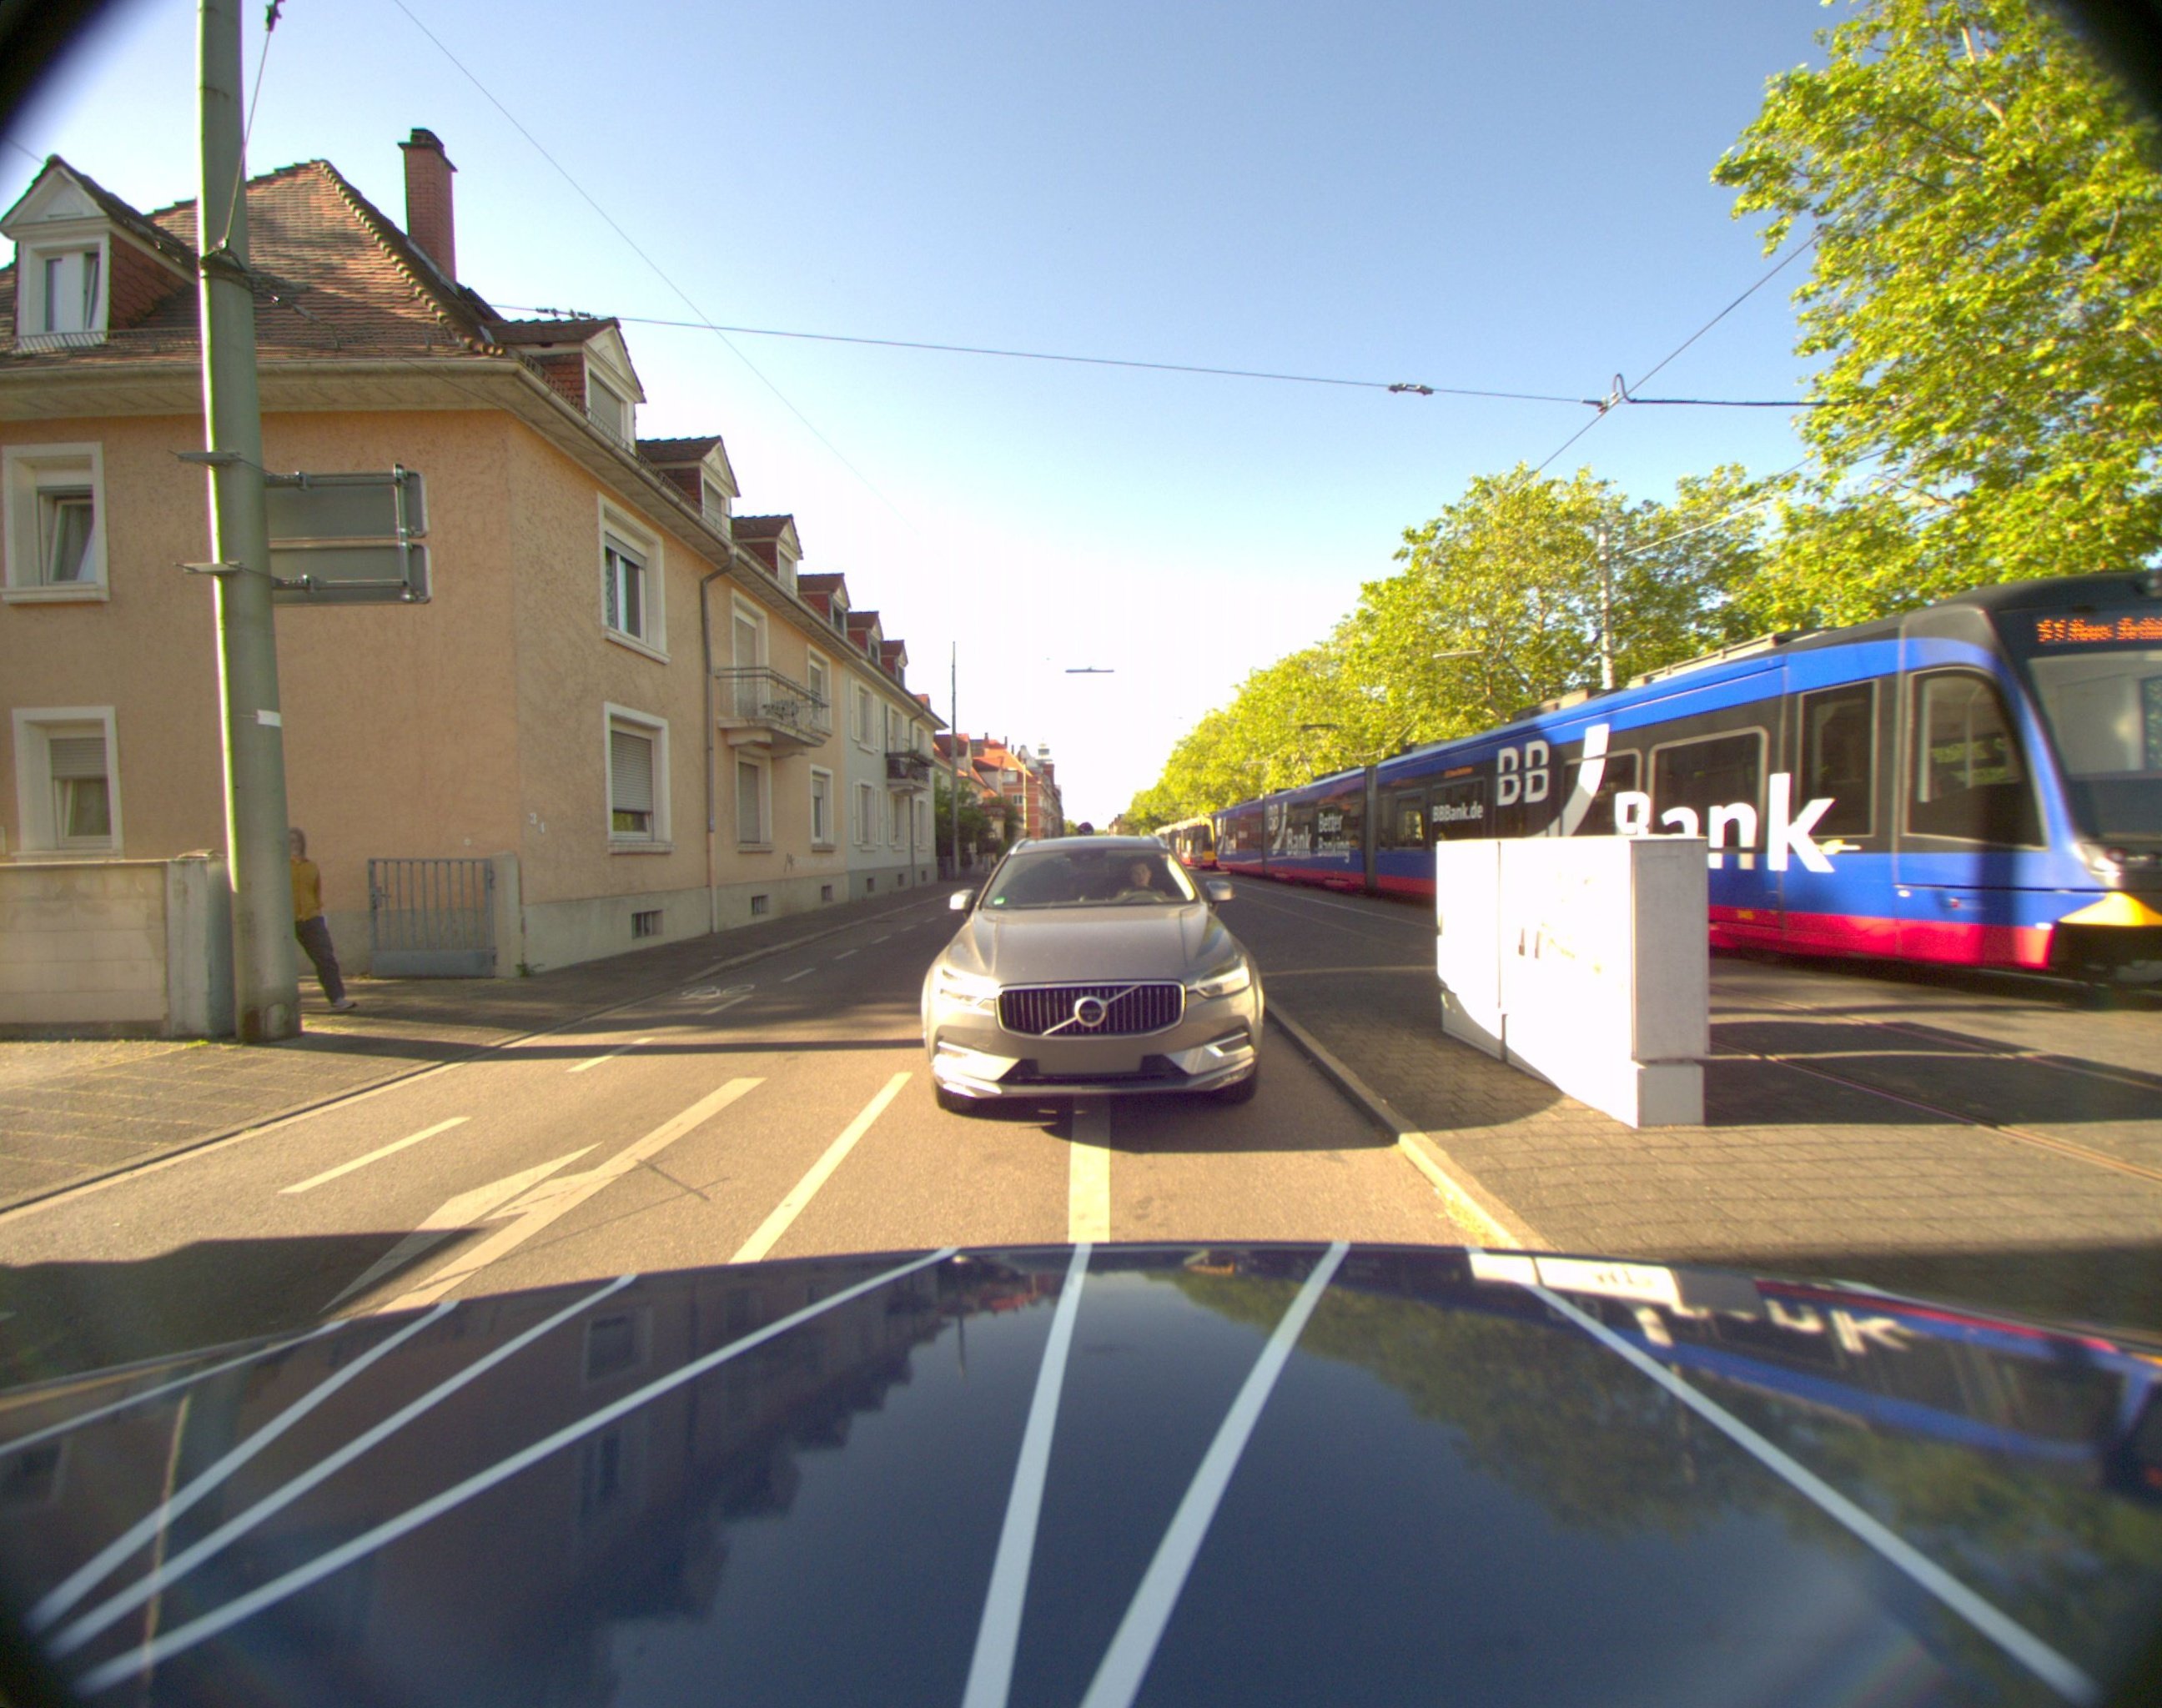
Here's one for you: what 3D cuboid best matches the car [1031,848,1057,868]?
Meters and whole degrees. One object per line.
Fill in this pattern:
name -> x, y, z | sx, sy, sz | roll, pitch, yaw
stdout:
car -> -2.920, 0.279, 60.981 | 1.882, 1.477, 3.999 | -1, 1, -1

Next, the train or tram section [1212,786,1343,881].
train or tram section -> 8.619, -0.859, 35.383 | 3.063, 3.592, 12.113 | -1, 1, 1

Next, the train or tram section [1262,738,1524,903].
train or tram section -> 8.368, -0.806, 23.030 | 3.062, 3.592, 12.501 | -1, 1, 1

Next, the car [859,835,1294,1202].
car -> 0.013, 0.715, 5.653 | 1.917, 1.622, 4.502 | -1, 1, 1

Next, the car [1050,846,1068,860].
car -> -2.491, -0.089, 85.687 | 1.882, 1.477, 3.999 | -1, 1, -1

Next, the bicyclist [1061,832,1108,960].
bicyclist -> 0.049, 0.562, 10.547 | 0.600, 1.709, 0.662 | -1, 1, 1

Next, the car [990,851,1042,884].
car -> -3.135, 0.632, 37.496 | 1.881, 1.477, 4.001 | -1, 1, 5

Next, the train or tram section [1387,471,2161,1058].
train or tram section -> 8.209, -0.635, 10.701 | 3.063, 3.592, 12.113 | -1, 1, 1

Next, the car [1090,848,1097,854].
car -> 3.228, -0.775, 198.864 | 1.882, 1.477, 3.999 | -1, 1, -1

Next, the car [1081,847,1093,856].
car -> 0.925, -0.442, 123.467 | 1.882, 1.477, 3.999 | -1, 1, -1

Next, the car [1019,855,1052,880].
car -> -2.870, 0.843, 48.766 | 1.882, 1.477, 3.999 | -1, 1, -1

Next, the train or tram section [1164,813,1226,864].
train or tram section -> 8.698, -1.160, 59.489 | 3.063, 3.592, 11.948 | -1, 1, 0

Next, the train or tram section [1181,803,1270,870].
train or tram section -> 8.691, -1.014, 47.492 | 3.063, 3.592, 12.112 | -1, 1, -1

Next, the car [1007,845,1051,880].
car -> -2.898, 0.397, 43.228 | 1.932, 1.834, 5.313 | -1, 1, 2

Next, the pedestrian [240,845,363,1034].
pedestrian -> -7.492, 0.791, 7.327 | 0.486, 1.750, 0.602 | -1, 1, 2

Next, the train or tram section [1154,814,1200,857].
train or tram section -> 8.879, -1.664, 71.854 | 3.062, 3.592, 12.889 | -1, 1, 2
